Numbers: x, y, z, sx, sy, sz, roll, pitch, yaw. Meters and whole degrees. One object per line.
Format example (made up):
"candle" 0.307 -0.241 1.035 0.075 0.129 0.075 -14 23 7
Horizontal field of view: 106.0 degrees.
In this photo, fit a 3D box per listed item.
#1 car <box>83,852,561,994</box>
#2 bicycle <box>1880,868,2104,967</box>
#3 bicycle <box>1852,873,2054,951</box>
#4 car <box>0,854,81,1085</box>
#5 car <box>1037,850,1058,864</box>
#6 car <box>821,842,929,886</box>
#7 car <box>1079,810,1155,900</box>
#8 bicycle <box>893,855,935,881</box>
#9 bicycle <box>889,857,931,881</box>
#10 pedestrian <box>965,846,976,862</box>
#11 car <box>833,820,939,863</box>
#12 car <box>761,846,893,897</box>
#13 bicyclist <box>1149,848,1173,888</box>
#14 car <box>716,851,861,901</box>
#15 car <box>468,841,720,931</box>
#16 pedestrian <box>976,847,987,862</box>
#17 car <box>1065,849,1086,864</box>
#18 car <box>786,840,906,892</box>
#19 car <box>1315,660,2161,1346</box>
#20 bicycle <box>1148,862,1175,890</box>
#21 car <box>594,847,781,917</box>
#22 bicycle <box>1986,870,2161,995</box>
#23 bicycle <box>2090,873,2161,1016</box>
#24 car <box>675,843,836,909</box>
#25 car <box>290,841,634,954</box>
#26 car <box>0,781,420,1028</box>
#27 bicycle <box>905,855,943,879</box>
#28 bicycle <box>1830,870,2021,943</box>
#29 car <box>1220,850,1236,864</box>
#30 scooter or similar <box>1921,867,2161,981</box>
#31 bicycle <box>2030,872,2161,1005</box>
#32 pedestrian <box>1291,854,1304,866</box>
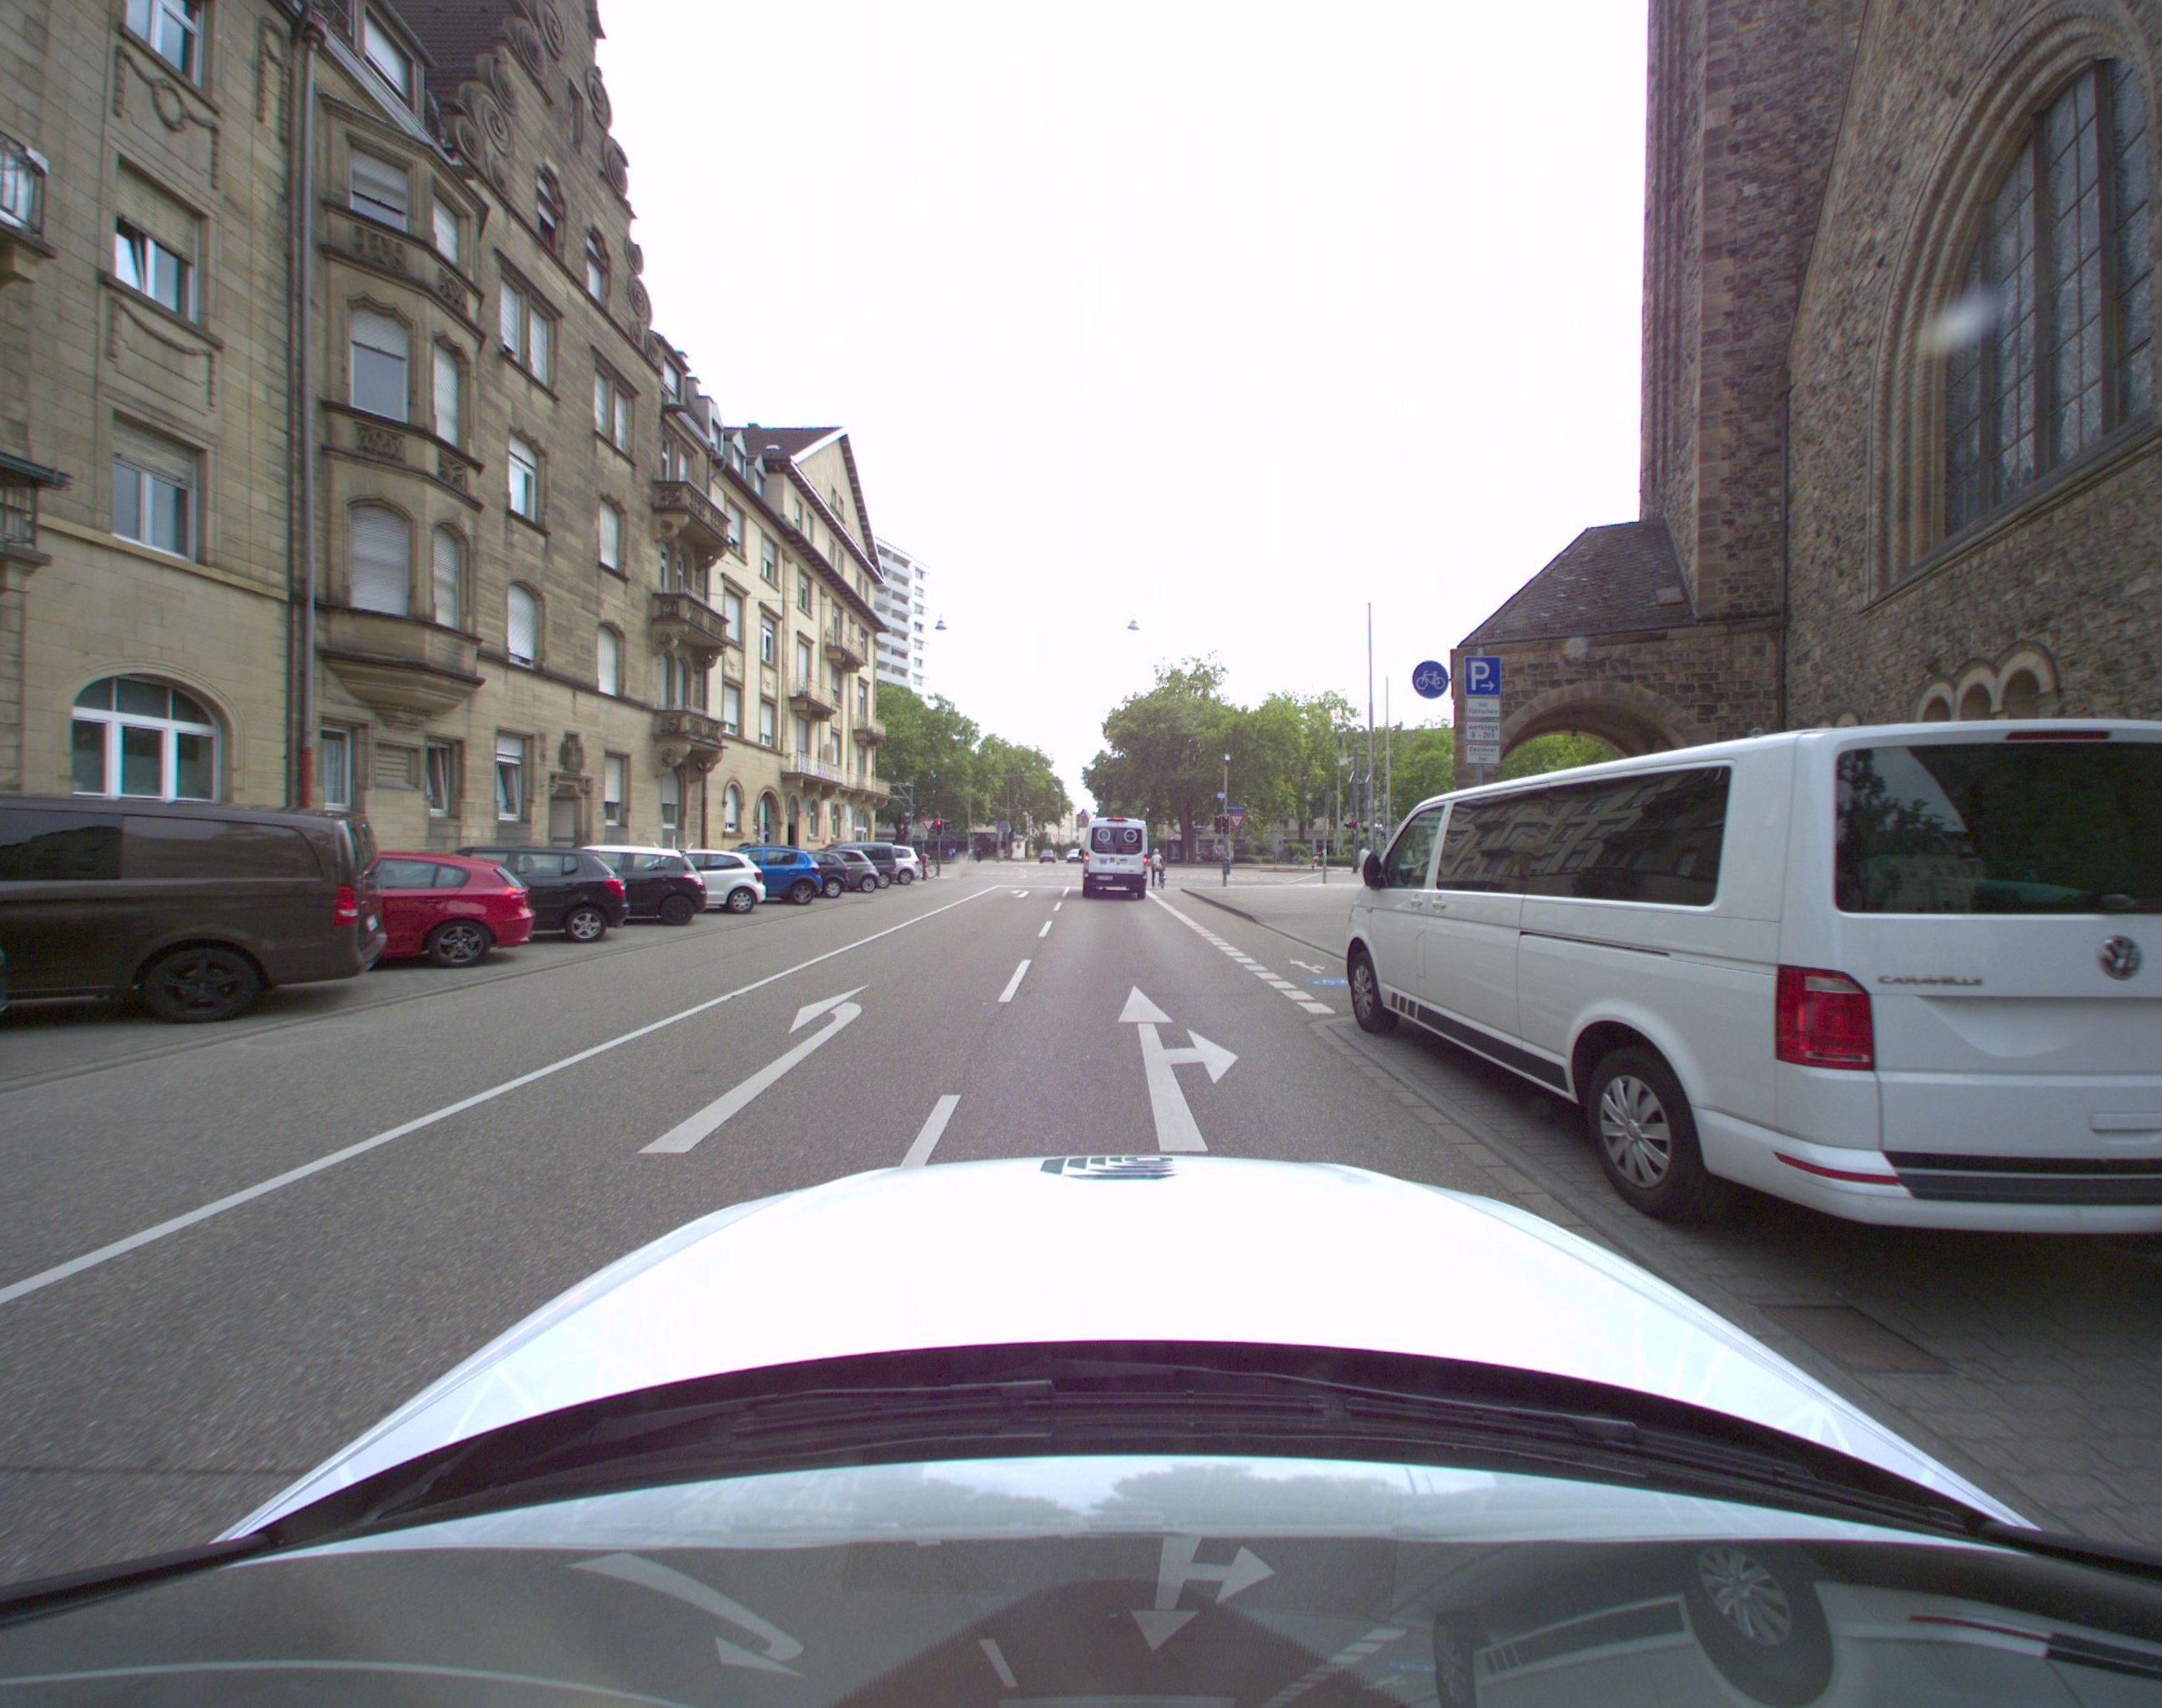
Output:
"car" -8.953 0.690 10.088 4.033 1.409 1.776 0 0 -40
"bicycle" 10.953 0.739 9.859 1.762 1.112 0.549 0 0 19
"bicycle" 11.401 0.738 10.712 1.762 0.957 0.549 0 0 19
"car" -8.791 0.649 3.893 4.693 1.409 1.879 3 0 -38
"car" -3.768 0.305 91.474 1.612 1.476 4.010 0 0 8
"car" -8.620 0.401 34.265 4.031 1.773 1.776 0 0 -38
"car" 1.084 0.004 27.117 2.175 2.647 4.627 2 1 -1
"bicycle" -7.905 0.648 38.577 1.801 1.120 0.595 4 0 4
"bicycle" -7.973 0.696 37.906 1.799 1.120 0.595 0 0 7
"pedestrian" -11.462 0.010 84.483 0.801 1.572 0.726 0 0 15
"car" -18.684 -1.216 77.810 9.795 3.915 3.475 0 0 25
"car" -8.834 0.576 28.487 4.031 1.651 1.776 0 0 -38
"bicyclist" 3.351 0.576 34.286 0.901 1.683 0.756 0 0 -3
"car" -9.042 0.640 25.275 3.920 1.443 1.817 0 0 -35
"car" -9.345 0.552 15.901 4.025 1.564 1.779 0 0 -32
"pedestrian" -10.289 0.039 84.480 0.923 1.514 0.726 0 0 15
"car" -0.623 0.261 90.124 1.723 1.592 4.010 0 0 8
"car" -8.914 0.425 31.016 4.031 1.879 1.776 0 0 -38
"car" 3.204 0.397 5.004 2.008 2.029 5.122 -1 1 -1
"bicycle" 3.346 0.908 34.089 0.900 1.075 1.968 0 0 -2
"car" -9.136 0.588 18.982 3.701 1.481 1.723 0 0 -36
"bicycle" 9.818 0.717 7.623 1.762 1.112 0.549 0 0 19
"bicycle" 9.380 0.721 6.427 1.762 1.112 0.549 0 0 19
"car" -8.894 0.554 22.344 3.794 1.651 1.706 0 0 -36
"car" -9.282 0.581 12.614 4.013 1.503 1.614 0 0 -35
"car" -9.216 0.385 6.989 5.291 1.910 2.099 0 0 -34
"bicycle" -8.063 0.669 41.743 1.859 1.167 0.500 2 -1 21
"bicycle" 11.685 0.726 11.331 1.762 0.957 0.549 -2 -1 19
"car" 20.860 0.435 115.839 1.984 1.930 4.006 0 0 5
"scooter or similar" 10.304 0.715 8.728 1.762 1.140 0.549 0 0 19
"bicycle" 9.588 0.719 7.047 1.755 1.112 0.549 0 0 19
"pedestrian" 24.363 0.662 91.655 1.086 1.236 1.443 -2 -1 5
